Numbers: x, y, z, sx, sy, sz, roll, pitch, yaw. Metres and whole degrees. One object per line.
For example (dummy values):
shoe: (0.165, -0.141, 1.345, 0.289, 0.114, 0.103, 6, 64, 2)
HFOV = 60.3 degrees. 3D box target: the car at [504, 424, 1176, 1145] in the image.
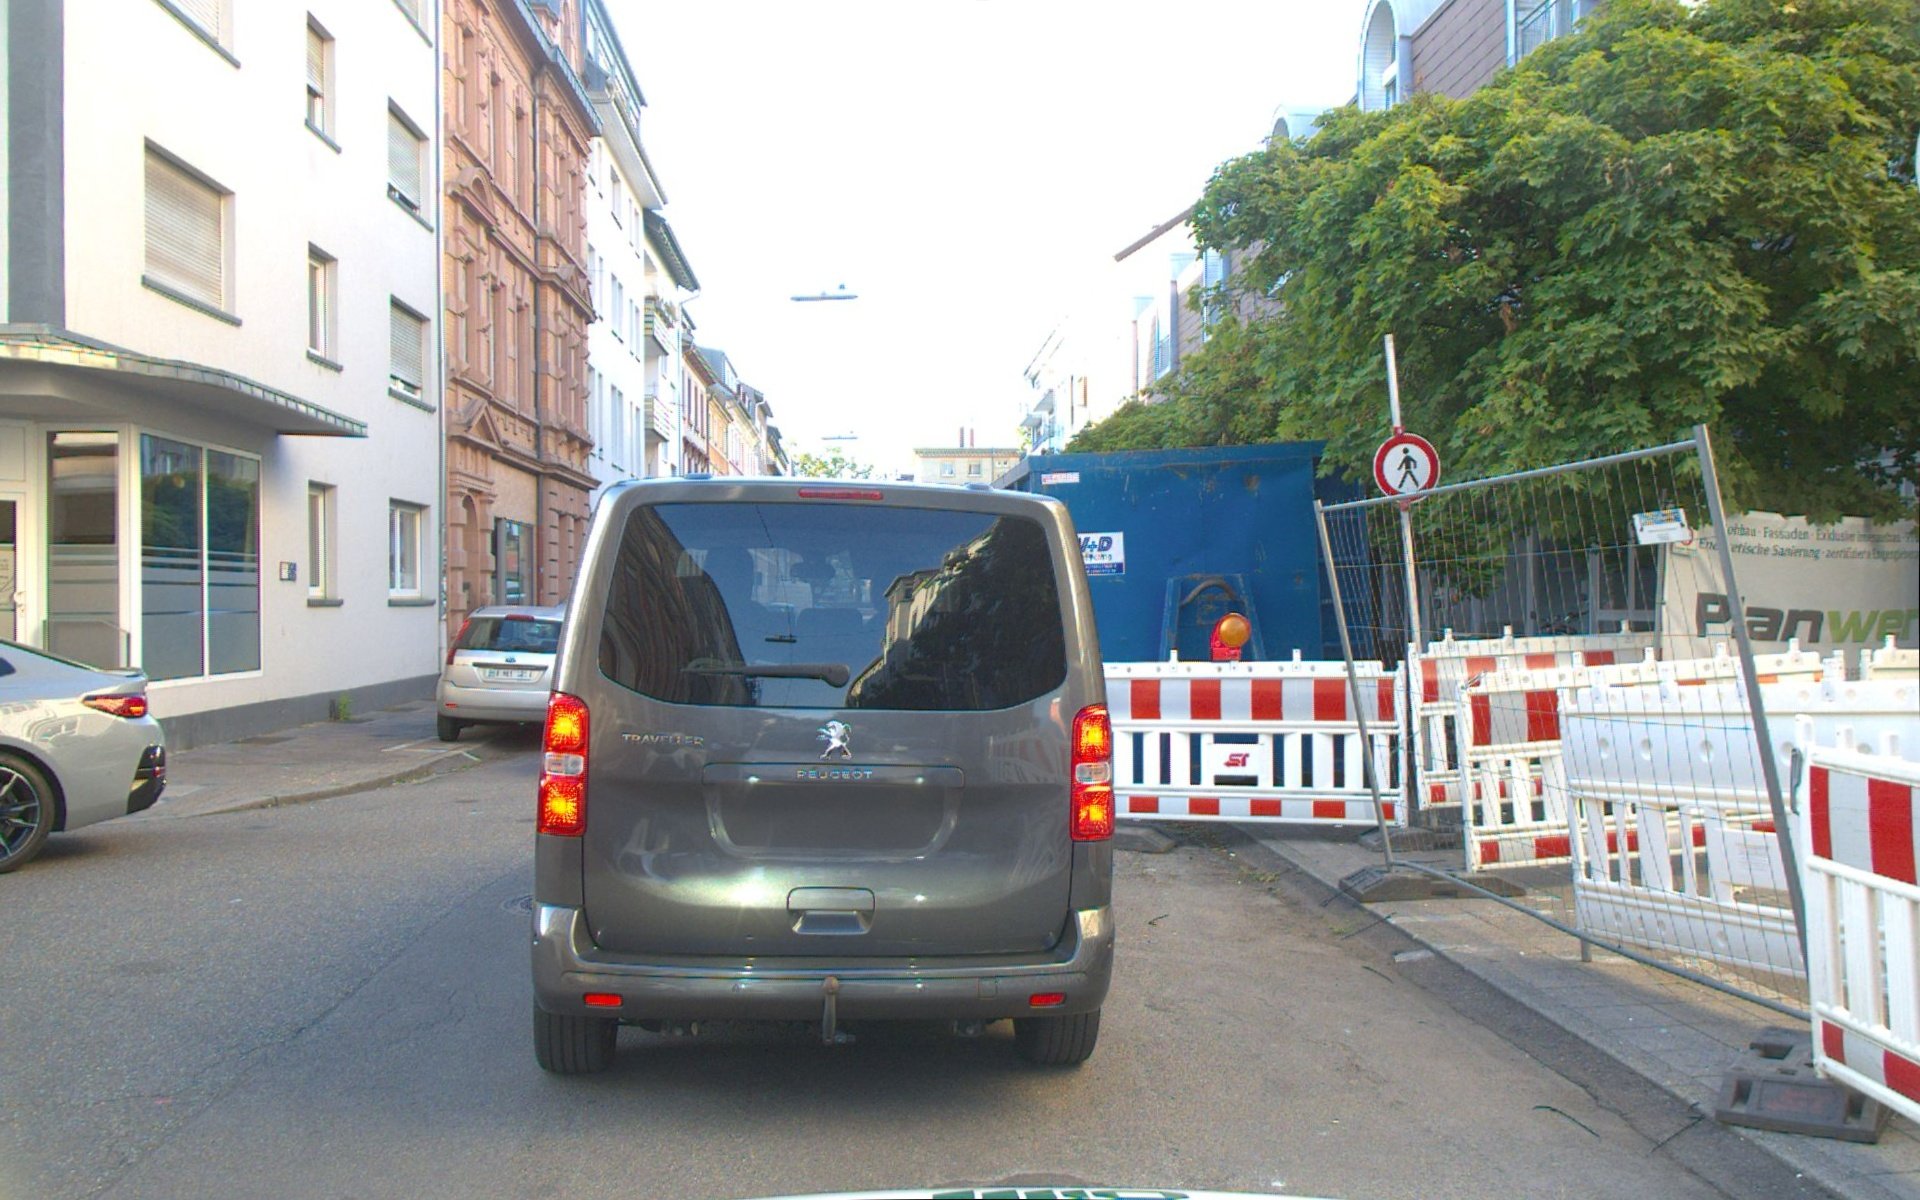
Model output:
car: (-0.546, 0.516, 6.632, 1.829, 1.919, 4.229, 0, -1, -7)

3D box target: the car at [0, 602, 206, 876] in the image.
car: (-6.821, 0.773, 8.850, 4.766, 1.477, 1.906, -1, 0, -40)

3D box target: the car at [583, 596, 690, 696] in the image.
car: (-6.059, 0.845, 31.262, 1.635, 1.695, 3.087, 4, -1, -7)

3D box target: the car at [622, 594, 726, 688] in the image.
car: (-5.975, 0.846, 34.909, 1.856, 1.749, 3.748, 4, -1, -7)

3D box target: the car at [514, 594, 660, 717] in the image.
car: (-5.372, 0.778, 24.193, 1.625, 1.552, 3.412, 4, -1, -7)

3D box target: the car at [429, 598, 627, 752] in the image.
car: (-4.825, 0.801, 18.894, 1.625, 1.485, 3.412, 4, -1, -7)

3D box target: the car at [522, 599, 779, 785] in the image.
car: (-2.745, 0.795, 15.360, 1.622, 1.486, 3.418, -1, -1, 2)

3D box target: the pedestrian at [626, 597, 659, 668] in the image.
pedestrian: (-7.673, 0.777, 39.982, 0.726, 1.693, 0.702, -1, 0, -8)
